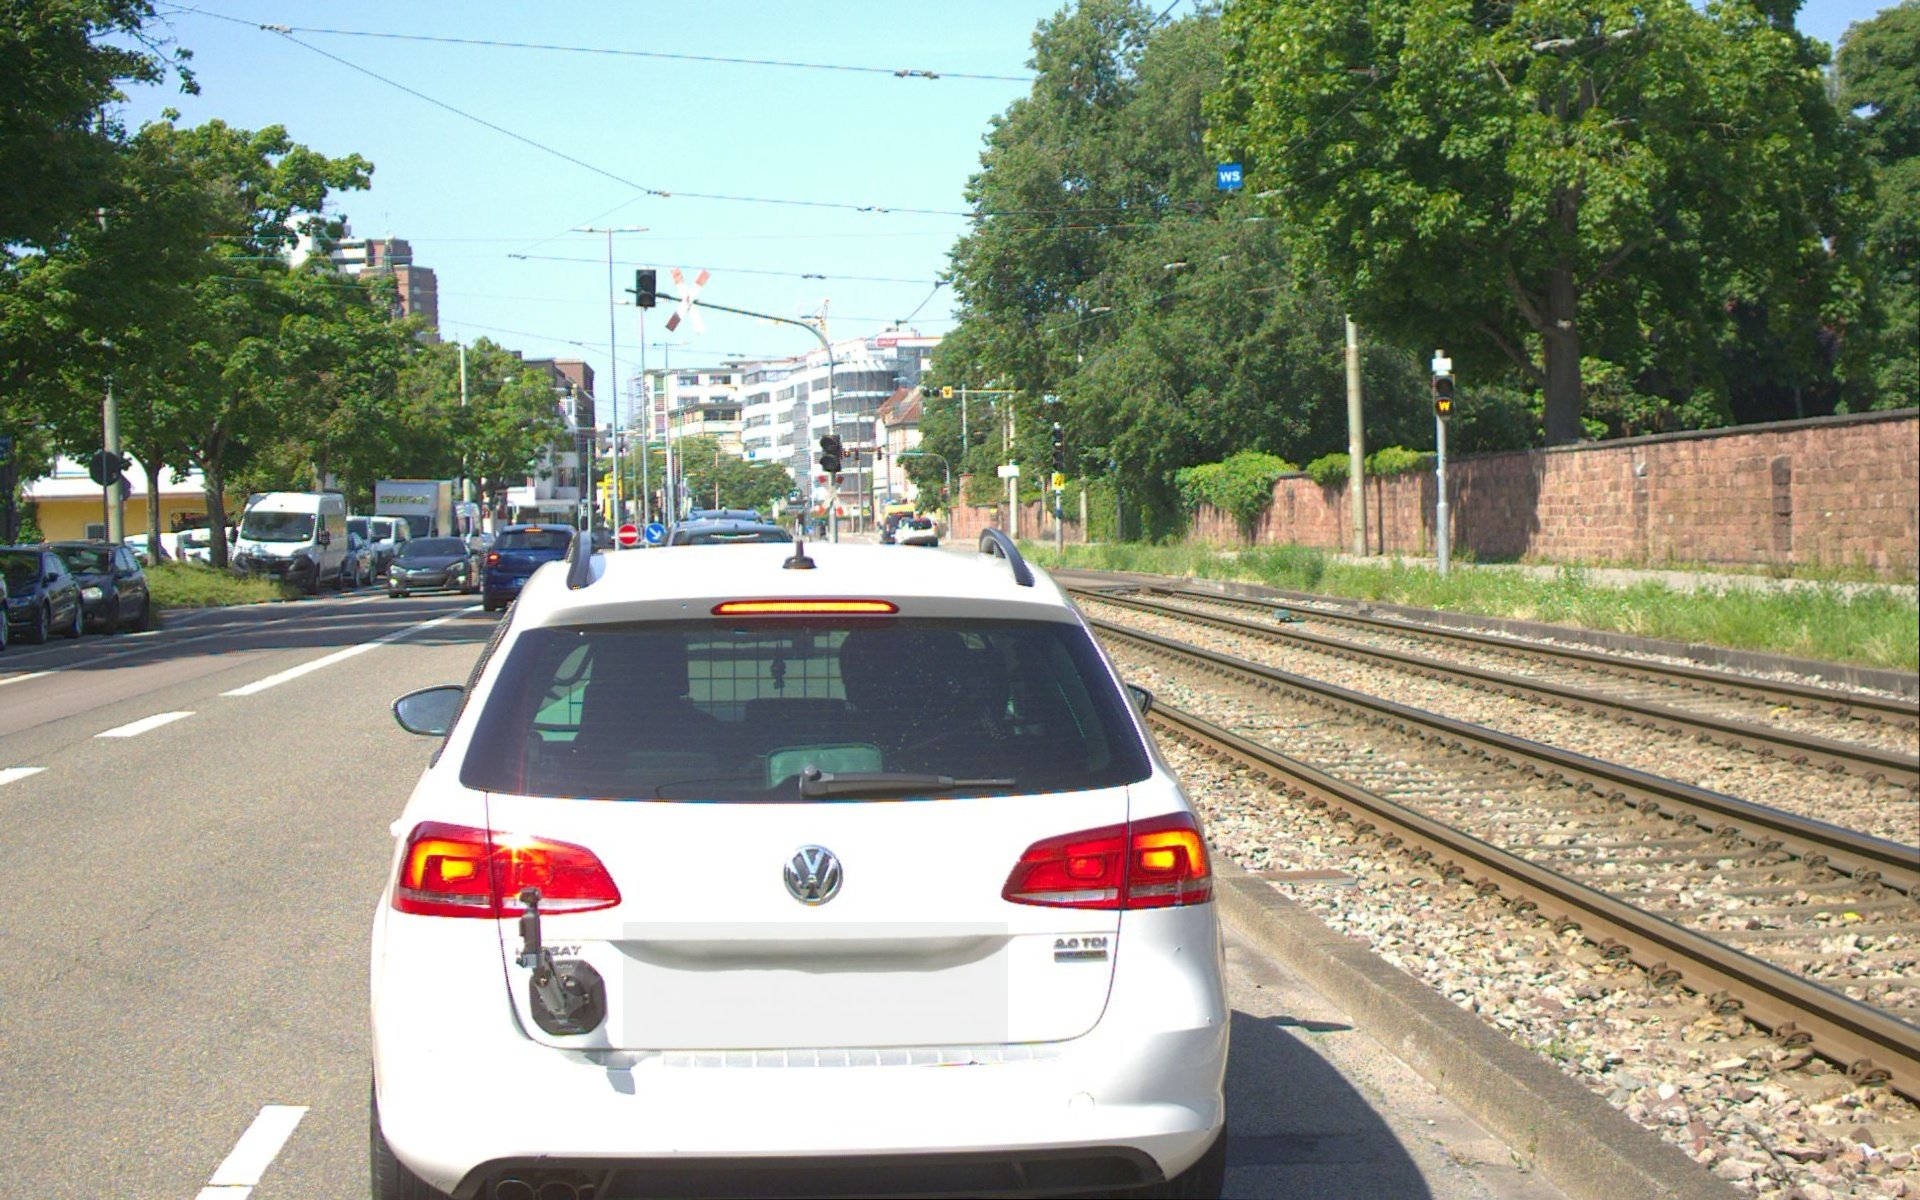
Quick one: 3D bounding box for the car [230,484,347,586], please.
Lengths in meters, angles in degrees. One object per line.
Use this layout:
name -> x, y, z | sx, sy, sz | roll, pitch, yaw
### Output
car -> -16.653, -1.647, 85.462 | 1.880, 2.407, 5.117 | -2, 2, -1

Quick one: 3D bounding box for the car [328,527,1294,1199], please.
car -> -0.458, 0.583, 8.321 | 1.691, 1.446, 4.460 | -1, 2, -5

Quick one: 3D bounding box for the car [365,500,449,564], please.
car -> -17.018, -2.117, 106.004 | 1.826, 1.860, 4.725 | -2, 2, -1

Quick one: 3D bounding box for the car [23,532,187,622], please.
car -> -14.035, -0.407, 56.636 | 1.699, 1.347, 4.000 | -2, 2, -1

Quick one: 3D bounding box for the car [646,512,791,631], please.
car -> -3.204, -0.410, 45.284 | 1.800, 1.455, 4.001 | 0, 2, -5

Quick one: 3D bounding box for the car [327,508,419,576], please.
car -> -16.761, -1.679, 98.348 | 1.826, 1.860, 4.725 | -2, 2, -1

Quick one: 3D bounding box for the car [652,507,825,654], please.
car -> -2.481, -0.262, 38.072 | 1.800, 1.502, 4.001 | 0, 2, -5

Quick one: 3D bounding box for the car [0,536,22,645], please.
car -> -13.922, -0.073, 45.913 | 1.699, 1.476, 4.000 | -2, 2, -1

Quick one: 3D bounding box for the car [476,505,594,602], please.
car -> -7.164, -0.814, 58.207 | 1.800, 1.502, 4.001 | 0, 3, -5

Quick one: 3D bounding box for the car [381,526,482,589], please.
car -> -11.455, -0.944, 74.695 | 1.699, 1.268, 4.001 | -2, 2, -2

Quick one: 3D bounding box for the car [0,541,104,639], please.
car -> -14.126, -0.163, 51.321 | 1.699, 1.347, 4.000 | -2, 2, -1
